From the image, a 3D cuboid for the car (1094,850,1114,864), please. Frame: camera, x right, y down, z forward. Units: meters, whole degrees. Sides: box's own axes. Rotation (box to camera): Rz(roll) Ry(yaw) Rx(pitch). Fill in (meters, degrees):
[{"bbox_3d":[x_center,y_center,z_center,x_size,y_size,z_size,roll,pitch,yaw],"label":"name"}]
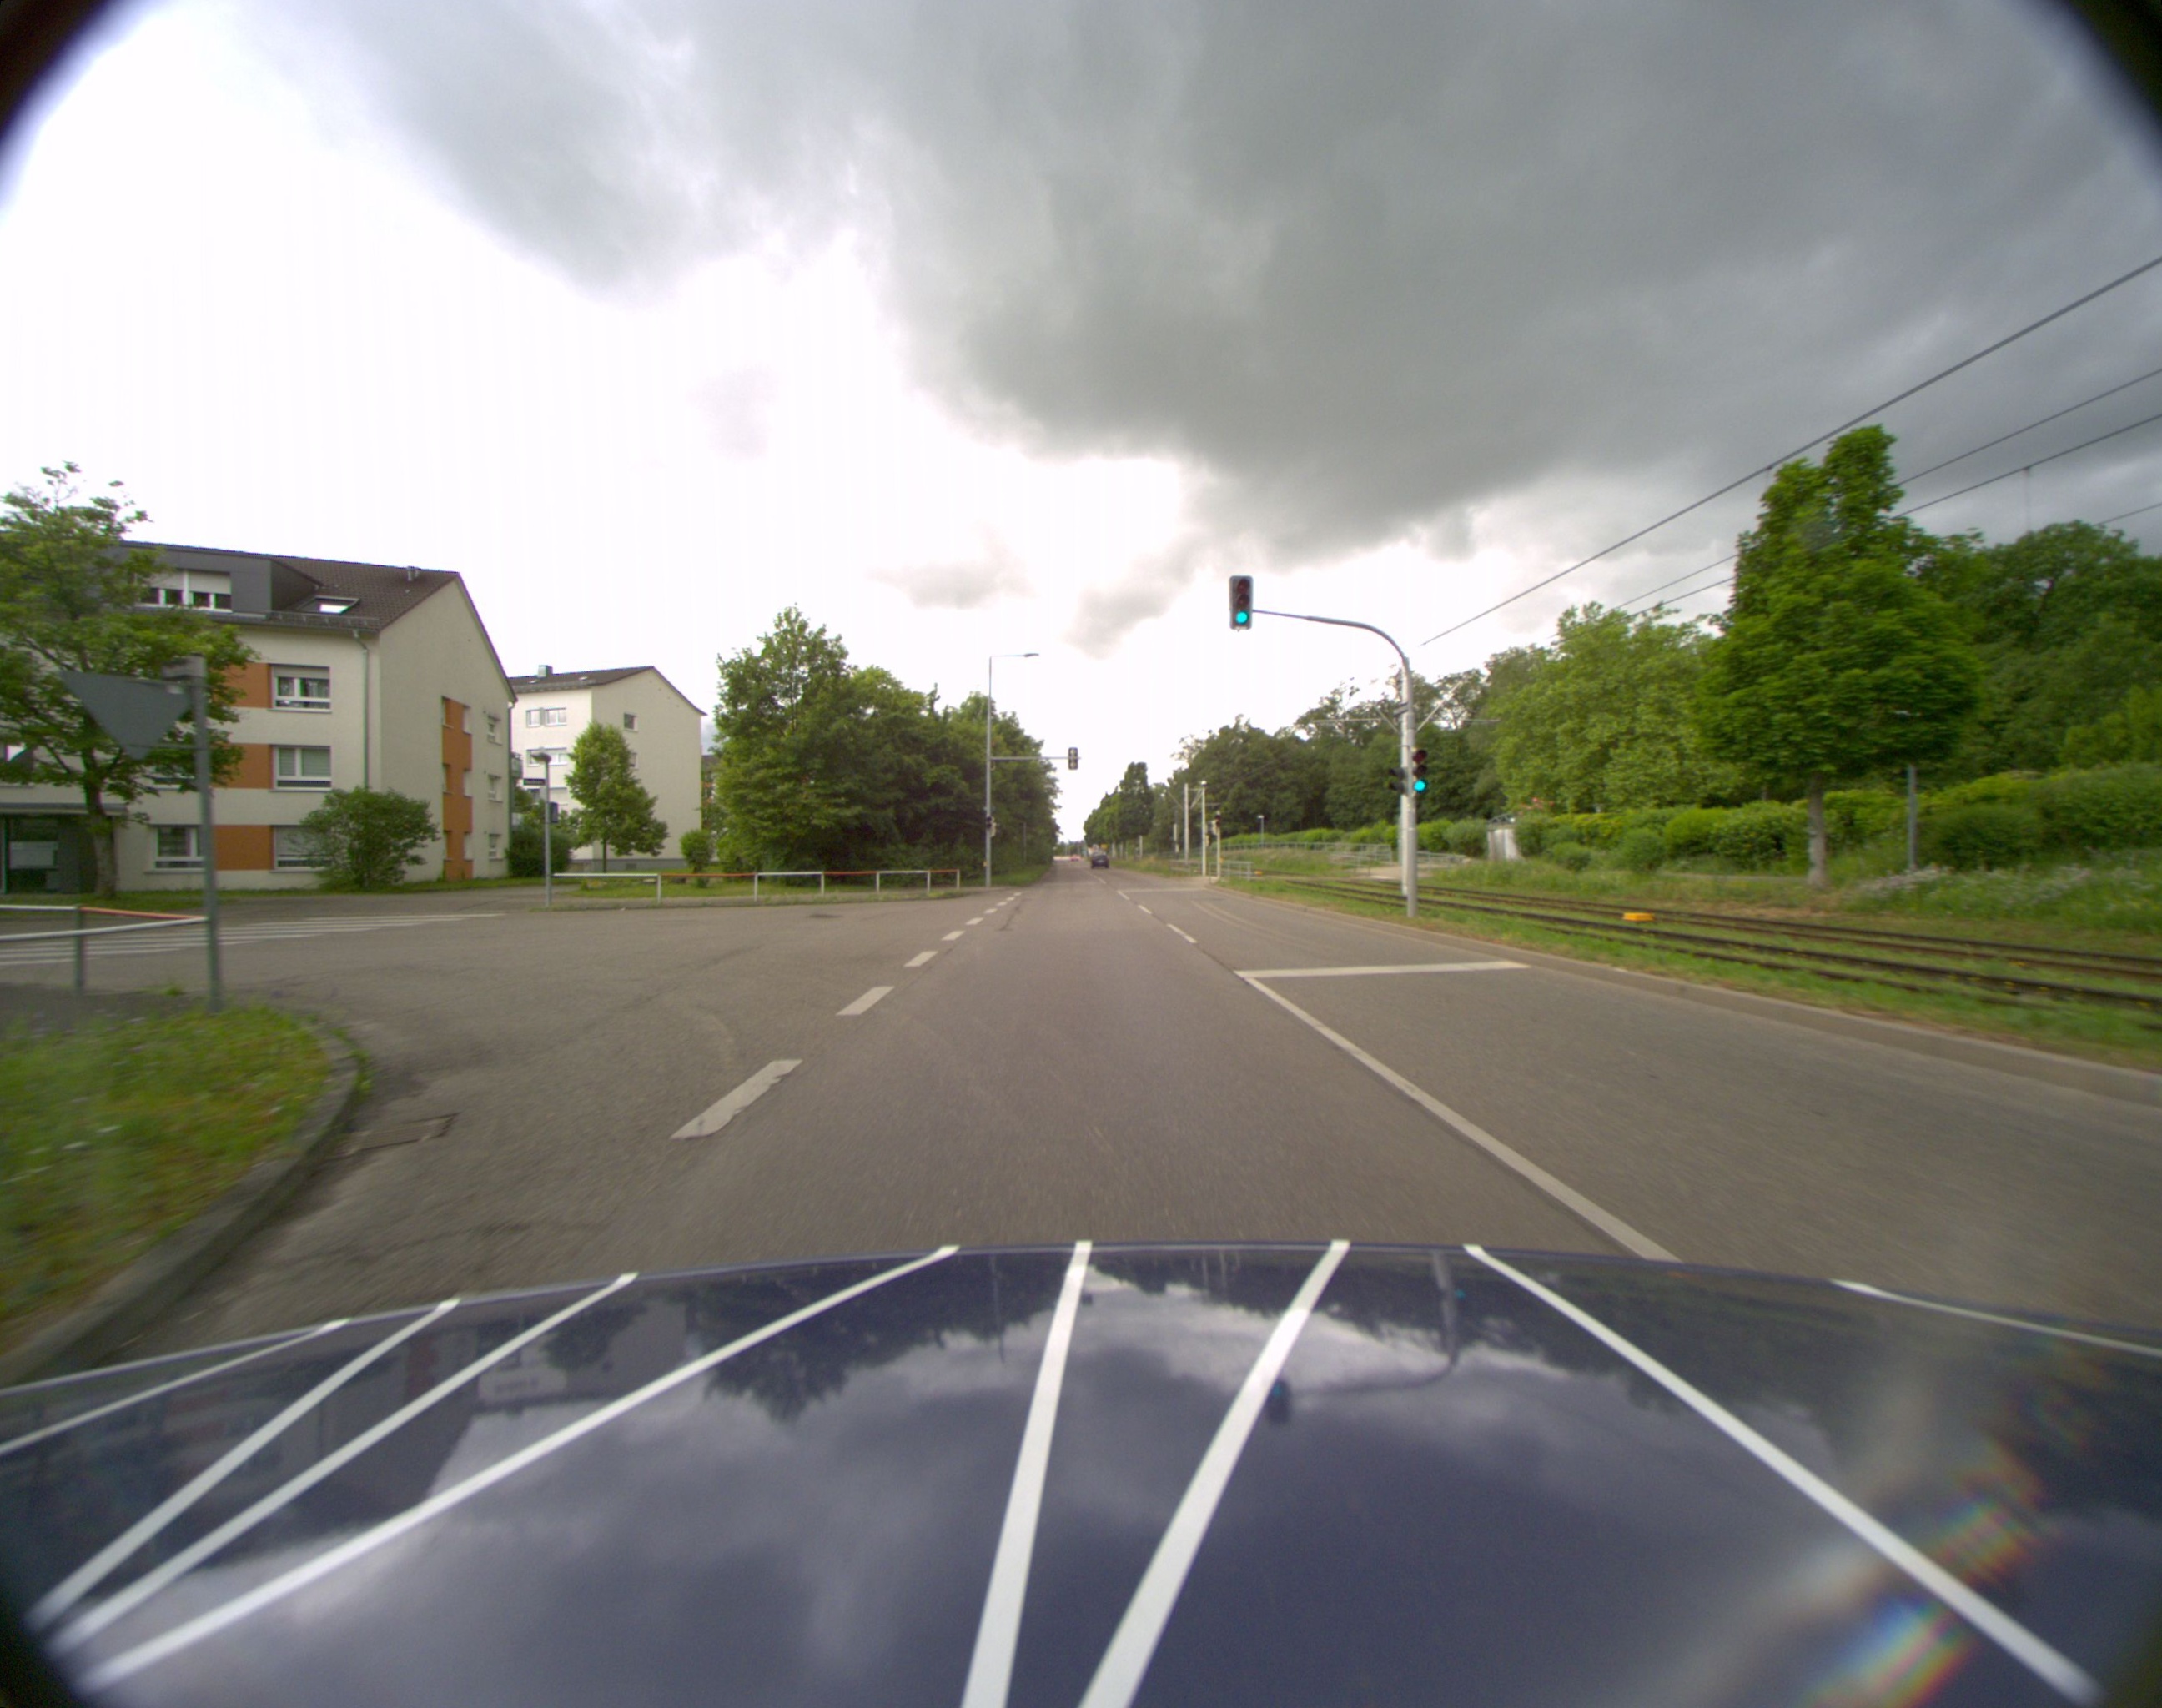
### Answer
[{"bbox_3d":[2.352,0.294,79.911,1.855,1.461,4.255,-1,0,-1],"label":"car"}]
